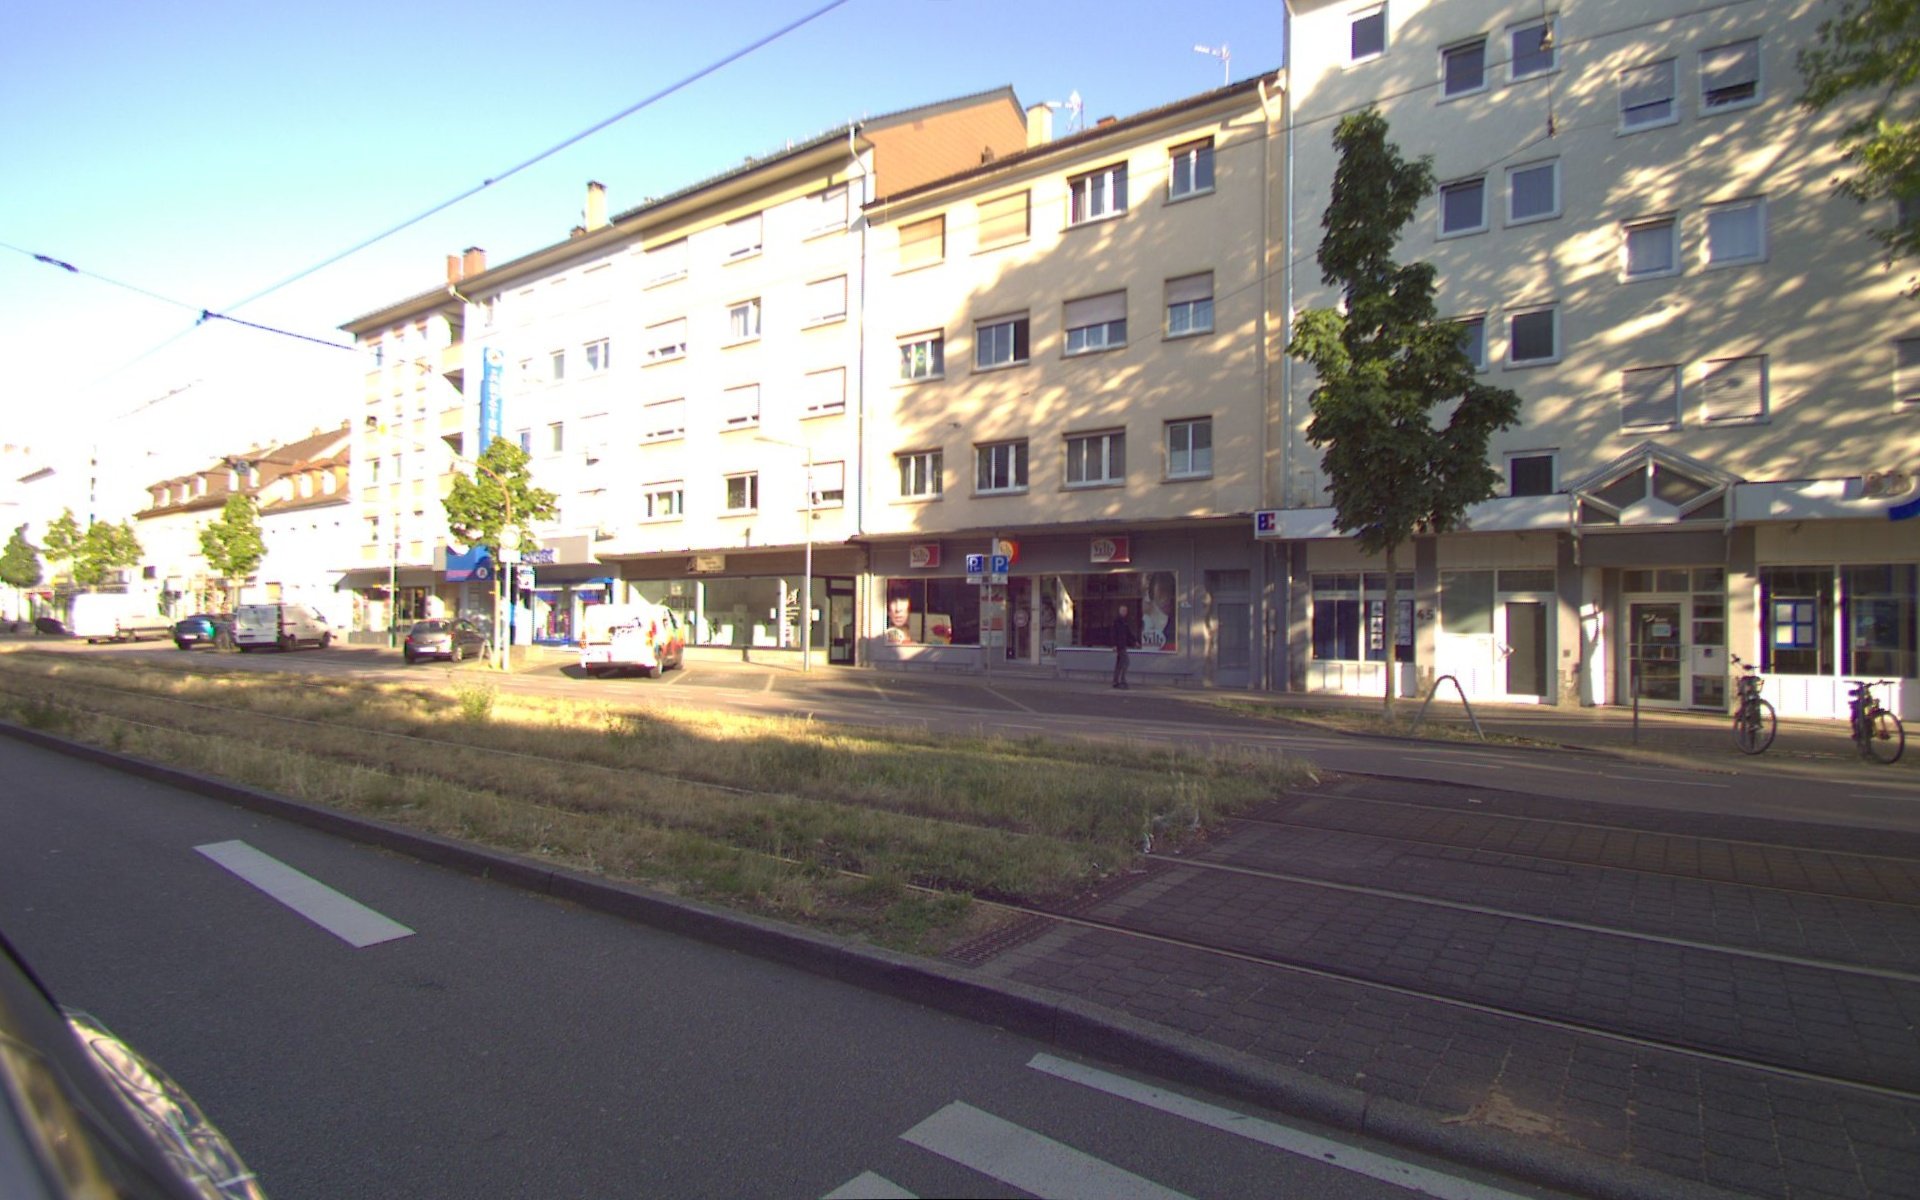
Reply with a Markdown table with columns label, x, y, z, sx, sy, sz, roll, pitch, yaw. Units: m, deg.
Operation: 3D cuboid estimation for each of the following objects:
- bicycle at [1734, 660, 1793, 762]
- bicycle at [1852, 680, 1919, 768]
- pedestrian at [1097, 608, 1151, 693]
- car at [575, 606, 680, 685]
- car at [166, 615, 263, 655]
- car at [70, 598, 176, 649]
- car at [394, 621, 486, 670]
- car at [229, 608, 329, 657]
| label | x | y | z | sx | sy | sz | roll | pitch | yaw |
| --- | --- | --- | --- | --- | --- | --- | --- | --- | --- |
| bicycle | 10.291 | 1.383 | 12.992 | 0.511 | 1.147 | 1.724 | -1 | -1 | 36 |
| bicycle | 11.326 | 1.484 | 12.371 | 0.471 | 0.895 | 1.724 | -1 | -1 | 36 |
| pedestrian | 3.644 | 1.093 | 22.474 | 0.916 | 1.841 | 0.747 | -1 | -1 | 41 |
| car | -8.801 | 1.149 | 27.106 | 1.830 | 1.913 | 4.005 | 0 | 0 | -6 |
| car | -34.179 | 1.557 | 46.540 | 1.830 | 1.727 | 3.919 | 0 | 0 | -4 |
| car | -45.388 | 1.216 | 55.095 | 1.895 | 2.634 | 6.608 | 0 | 0 | -16 |
| car | -17.549 | 1.501 | 34.346 | 1.708 | 1.508 | 4.009 | 0 | 0 | -10 |
| car | -28.643 | 1.304 | 42.746 | 1.828 | 1.952 | 4.514 | 0 | 0 | -10 |
